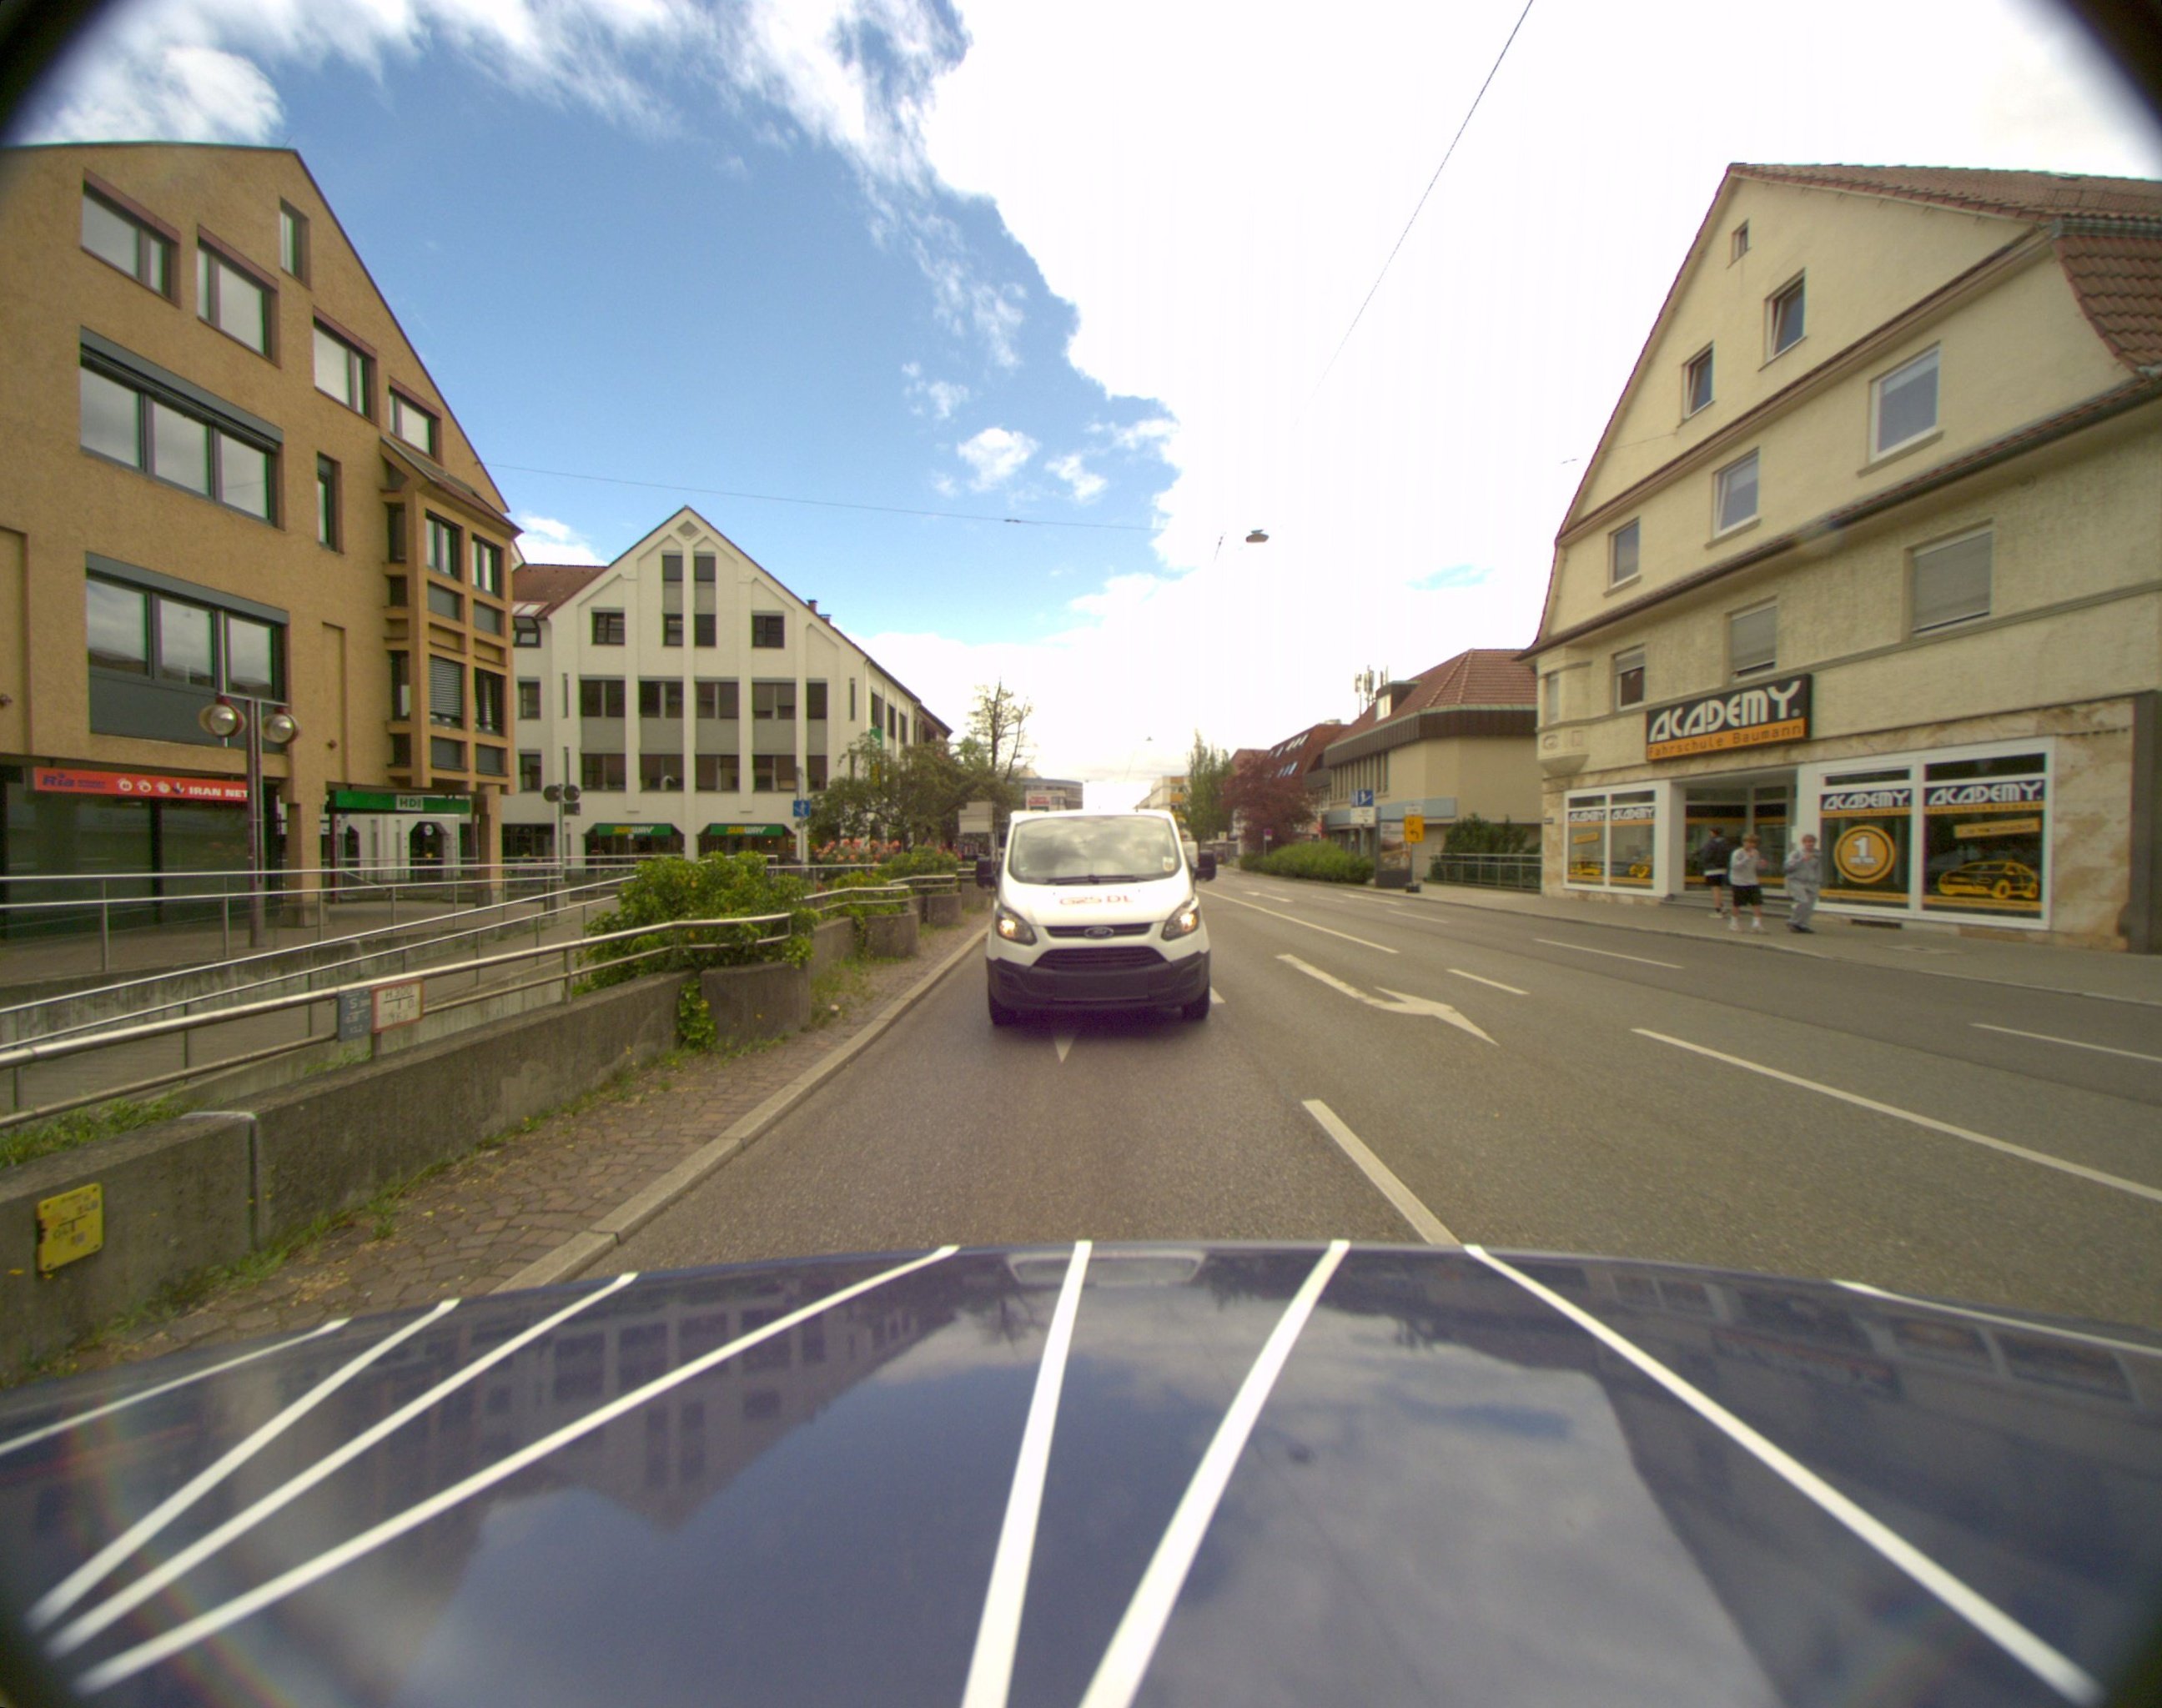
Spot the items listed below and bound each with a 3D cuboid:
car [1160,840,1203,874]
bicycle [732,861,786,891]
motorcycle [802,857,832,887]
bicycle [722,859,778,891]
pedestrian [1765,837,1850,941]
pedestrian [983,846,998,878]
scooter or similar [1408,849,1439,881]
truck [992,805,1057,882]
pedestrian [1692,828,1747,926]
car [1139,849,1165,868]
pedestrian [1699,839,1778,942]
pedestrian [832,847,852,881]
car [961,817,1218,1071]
[{"bbox_3d":[5.977,0.144,45.739,1.957,1.898,4.320,0,1,-1],"label":"car"},{"bbox_3d":[-10.719,0.718,25.355,1.594,0.963,0.461,-1,1,-14],"label":"bicycle"},{"bbox_3d":[-10.185,0.673,29.379,0.464,1.062,1.995,-1,1,0],"label":"motorcycle"},{"bbox_3d":[-10.707,0.661,24.596,1.594,0.996,0.414,-1,1,-13],"label":"bicycle"},{"bbox_3d":[12.096,0.565,12.668,0.689,1.661,0.709,-3,1,0],"label":"pedestrian"},{"bbox_3d":[-4.443,0.394,37.322,0.653,1.568,0.684,-1,1,1],"label":"pedestrian"},{"bbox_3d":[15.413,0.490,34.157,1.193,1.386,0.538,-1,1,-15],"label":"scooter or similar"},{"bbox_3d":[-2.735,-0.554,39.237,2.446,3.465,8.346,-2,1,1],"label":"truck"},{"bbox_3d":[12.655,0.448,15.065,0.551,1.878,0.592,-2,1,-4],"label":"pedestrian"},{"bbox_3d":[5.488,0.304,58.829,1.650,1.391,3.541,0,1,-1],"label":"car"},{"bbox_3d":[11.206,0.602,12.978,0.689,1.680,0.742,-2,1,0],"label":"pedestrian"},{"bbox_3d":[-12.276,0.494,39.060,0.887,1.747,0.943,-1,1,-11],"label":"pedestrian"},{"bbox_3d":[0.066,0.671,8.449,1.964,1.948,5.163,-1,1,0],"label":"car"}]
